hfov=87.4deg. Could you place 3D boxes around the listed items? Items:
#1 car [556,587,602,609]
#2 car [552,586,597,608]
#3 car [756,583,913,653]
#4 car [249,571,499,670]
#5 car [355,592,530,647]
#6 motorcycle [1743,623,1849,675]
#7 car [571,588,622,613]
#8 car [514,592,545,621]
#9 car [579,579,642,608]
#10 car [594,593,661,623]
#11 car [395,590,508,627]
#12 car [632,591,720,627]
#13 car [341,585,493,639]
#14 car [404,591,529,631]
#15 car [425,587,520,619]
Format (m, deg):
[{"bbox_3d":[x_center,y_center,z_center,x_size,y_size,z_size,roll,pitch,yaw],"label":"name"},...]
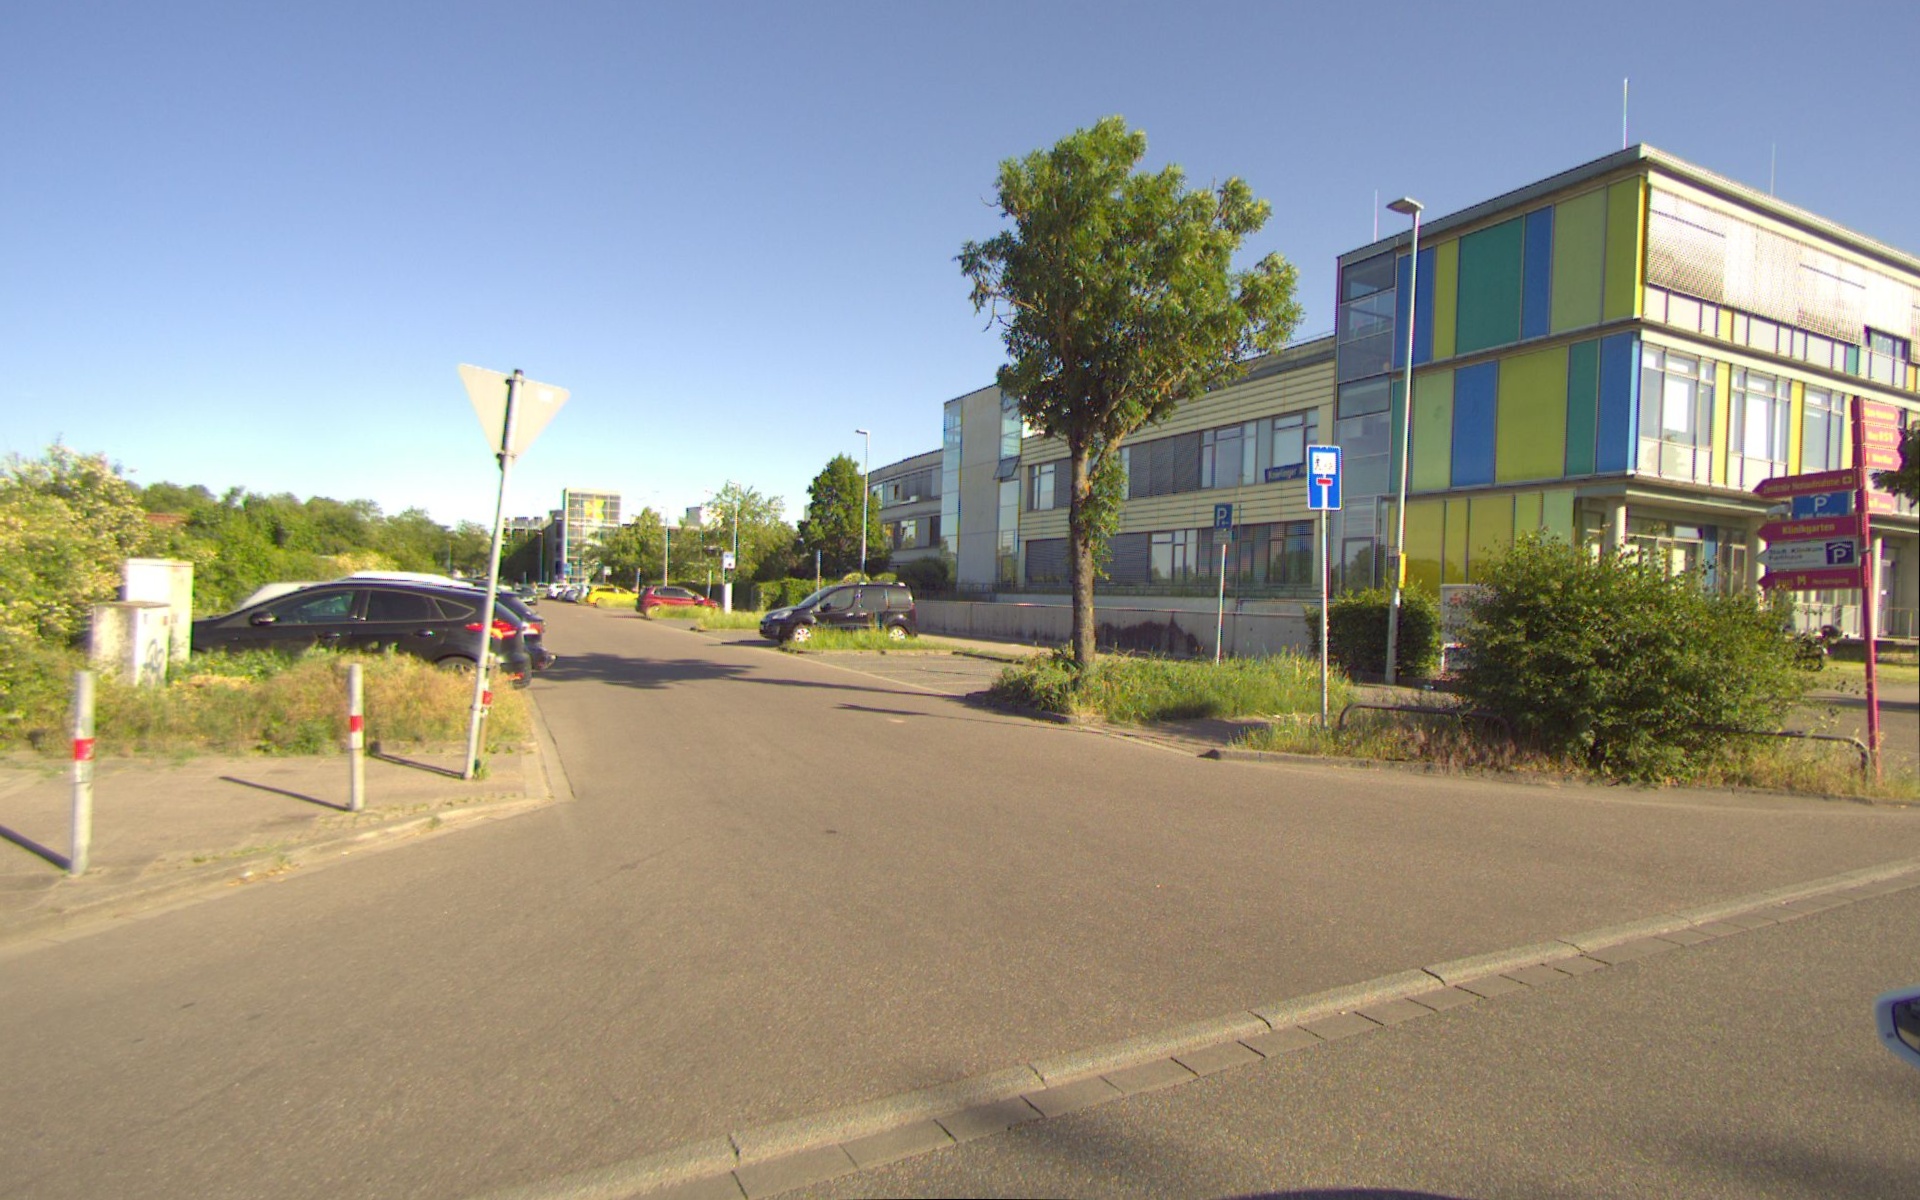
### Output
[{"bbox_3d":[-37.111,-0.226,97.778,3.948,2.040,1.986,2,0,-27],"label":"car"},{"bbox_3d":[-38.539,-0.288,100.441,3.948,2.040,1.986,2,0,-27],"label":"car"},{"bbox_3d":[-3.455,0.495,27.762,4.043,1.813,1.503,2,0,-21],"label":"car"},{"bbox_3d":[-10.797,0.397,18.797,3.789,1.717,1.503,2,0,-21],"label":"car"},{"bbox_3d":[-12.994,0.525,25.373,3.798,1.280,1.500,2,-3,-28],"label":"car"},{"bbox_3d":[21.806,1.250,26.245,0.493,1.165,2.034,1,3,-28],"label":"motorcycle"},{"bbox_3d":[-31.530,0.016,87.040,3.948,2.040,1.986,2,0,-27],"label":"car"},{"bbox_3d":[-32.107,0.495,74.874,1.974,2.040,3.973,1,0,-26],"label":"car"},{"bbox_3d":[-26.844,-0.512,77.163,4.336,2.040,1.986,2,0,-27],"label":"car"},{"bbox_3d":[-23.413,0.549,70.749,4.329,1.966,1.990,2,0,-22],"label":"car"},{"bbox_3d":[-19.591,0.361,38.783,3.798,1.280,1.500,2,-3,-28],"label":"car"},{"bbox_3d":[-14.313,0.454,50.619,3.948,1.724,1.986,2,0,-27],"label":"car"},{"bbox_3d":[-16.172,0.363,30.117,3.789,1.504,1.503,2,0,-21],"label":"car"},{"bbox_3d":[-17.070,0.398,34.831,3.798,1.281,1.499,2,0,-28],"label":"car"},{"bbox_3d":[-22.103,0.154,45.623,3.798,1.280,1.500,2,-3,-28],"label":"car"}]
